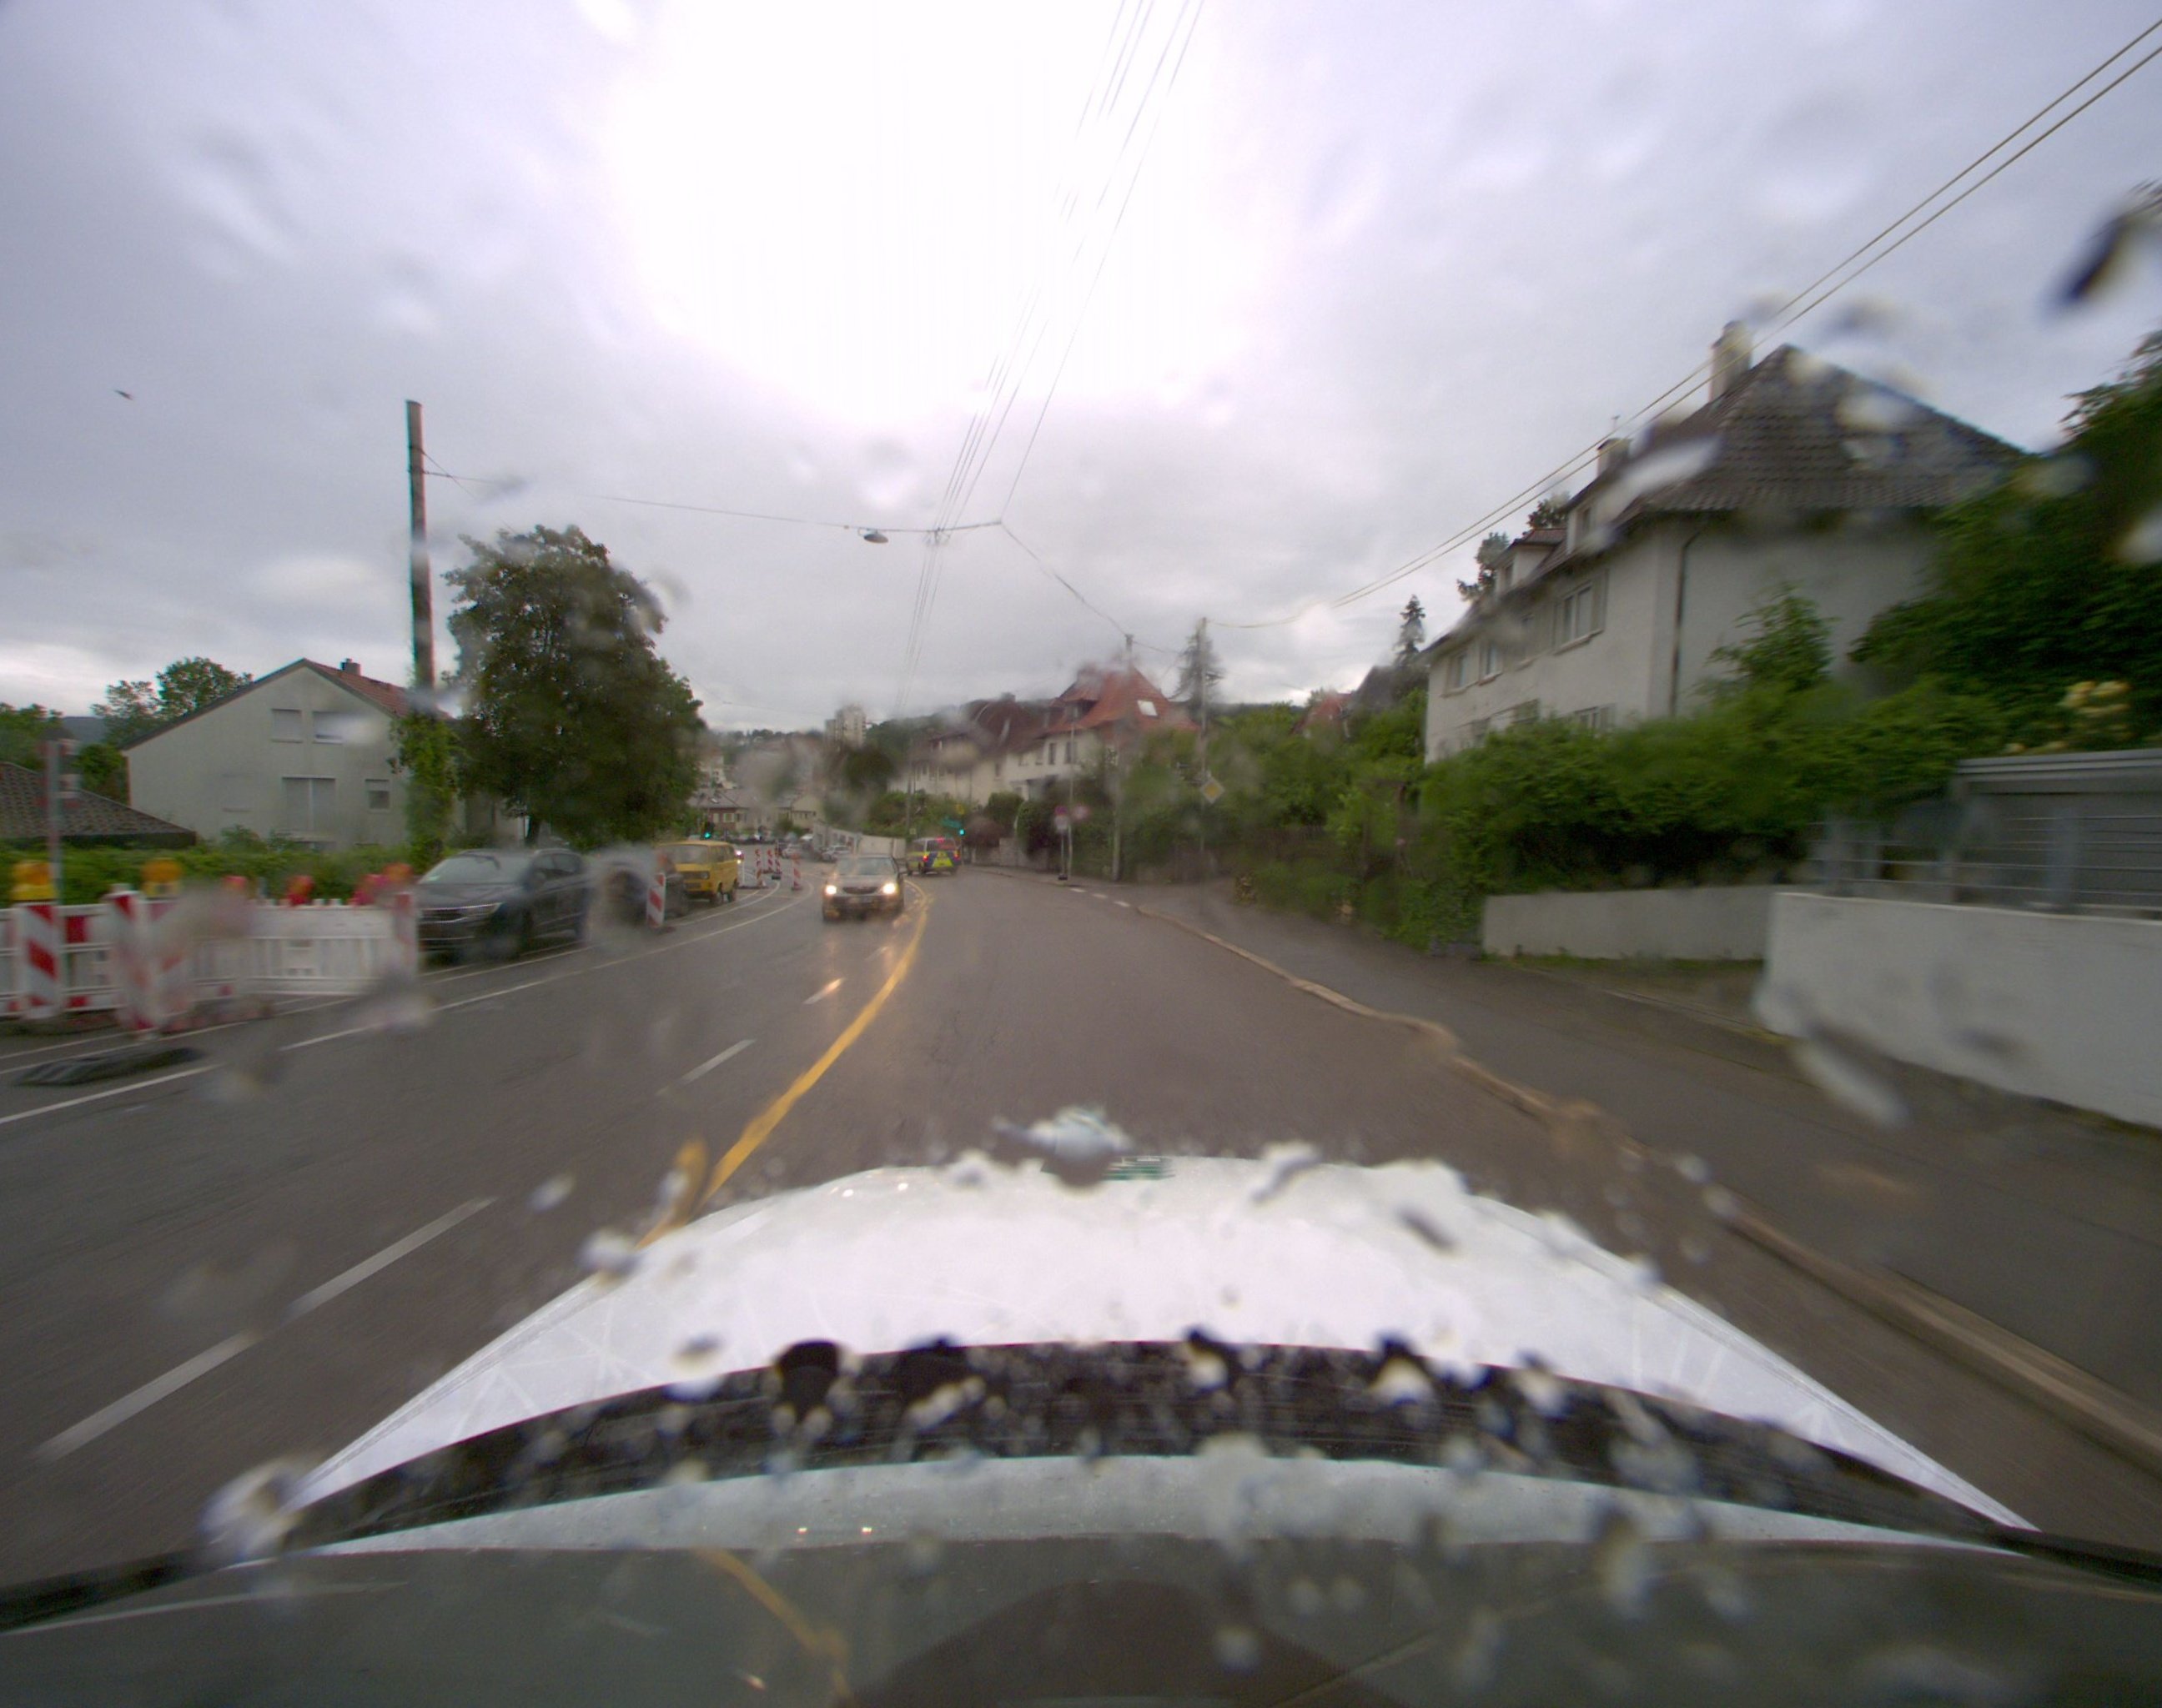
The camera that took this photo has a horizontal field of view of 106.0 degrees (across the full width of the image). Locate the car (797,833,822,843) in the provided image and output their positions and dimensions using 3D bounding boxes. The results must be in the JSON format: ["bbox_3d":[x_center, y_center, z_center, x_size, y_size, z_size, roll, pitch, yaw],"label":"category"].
[{"bbox_3d":[-47.330,-2.852,142.070,1.916,1.630,4.695,4,2,14],"label":"car"}]

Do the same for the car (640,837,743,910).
[{"bbox_3d":[-11.616,0.507,24.613,1.805,1.927,4.557,-2,1,-13],"label":"car"}]

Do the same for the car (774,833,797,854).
[{"bbox_3d":[-37.166,-1.307,102.575,2.102,2.542,5.593,0,1,-14],"label":"car"}]

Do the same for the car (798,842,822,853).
[{"bbox_3d":[-39.049,-0.937,117.394,1.671,1.483,4.205,3,1,3],"label":"car"}]

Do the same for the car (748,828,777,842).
[{"bbox_3d":[-50.157,-2.951,128.489,1.837,2.078,5.034,3,2,9],"label":"car"}]

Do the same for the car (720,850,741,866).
[{"bbox_3d":[-34.632,0.387,80.423,1.708,1.461,4.644,-2,2,-26],"label":"car"}]

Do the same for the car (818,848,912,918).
[{"bbox_3d":[-5.258,0.625,20.327,1.790,1.490,4.657,0,1,-9],"label":"car"}]

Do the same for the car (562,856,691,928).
[{"bbox_3d":[-10.355,0.796,18.821,1.575,1.454,3.451,-1,0,-11],"label":"car"}]

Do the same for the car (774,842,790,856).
[{"bbox_3d":[-35.647,-0.629,97.157,1.759,1.495,4.158,0,2,-19],"label":"car"}]

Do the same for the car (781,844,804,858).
[{"bbox_3d":[-30.581,-0.331,86.282,1.715,1.414,4.004,-1,1,-29],"label":"car"}]

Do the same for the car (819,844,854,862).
[{"bbox_3d":[-21.076,-0.107,70.075,1.793,1.420,4.386,-2,2,-32],"label":"car"}]

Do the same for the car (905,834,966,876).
[{"bbox_3d":[-7.661,-0.015,42.487,2.317,1.939,4.295,-3,3,-21],"label":"car"}]

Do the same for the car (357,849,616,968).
[{"bbox_3d":[-9.490,0.735,13.517,1.720,1.608,4.446,0,0,-11],"label":"car"}]

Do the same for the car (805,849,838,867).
[{"bbox_3d":[-23.696,0.365,74.294,1.727,1.513,3.957,-2,2,-35],"label":"car"}]
